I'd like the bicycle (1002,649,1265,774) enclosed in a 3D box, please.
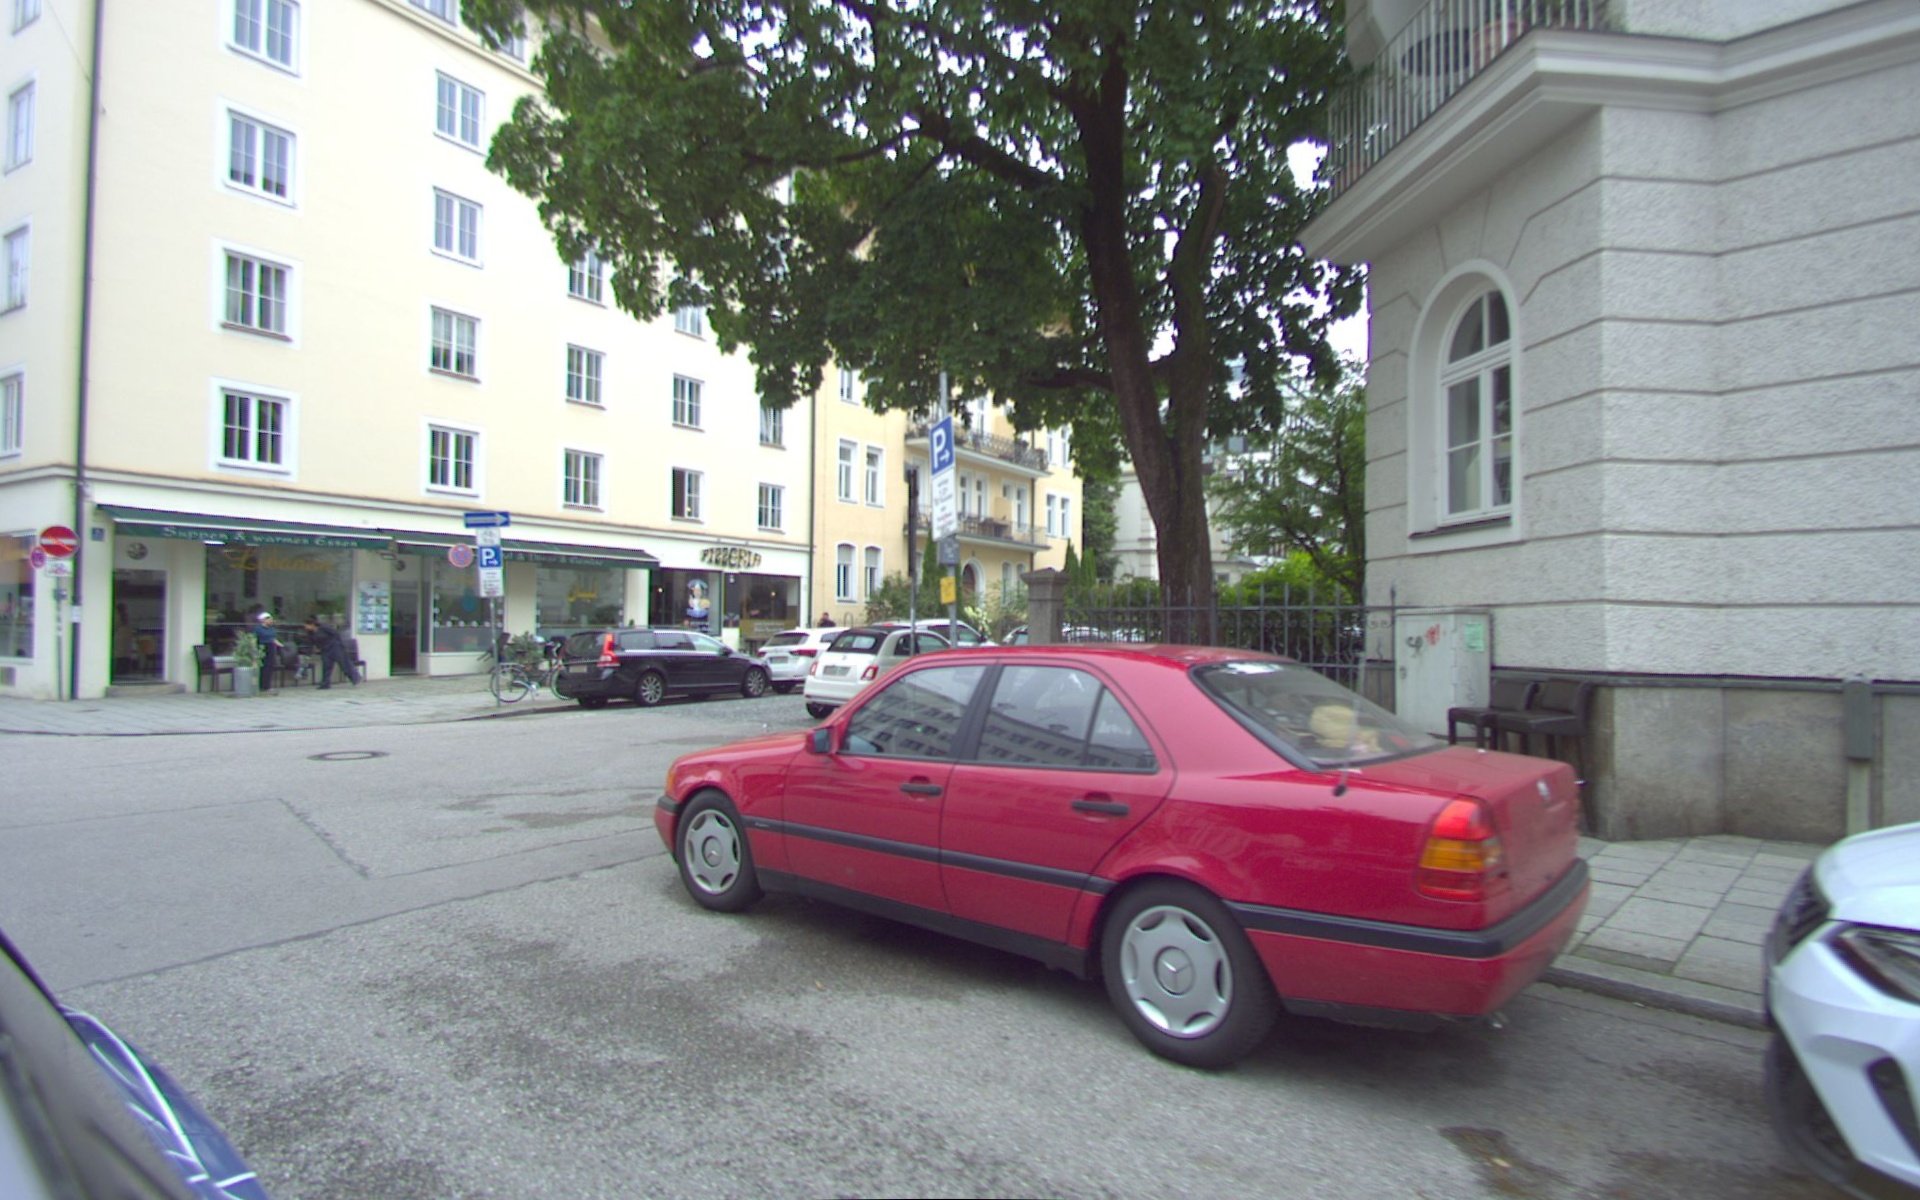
[{"bbox_3d":[1.805,1.119,10.724,2.637,1.172,0.799,-1,-2,27],"label":"bicycle"}]

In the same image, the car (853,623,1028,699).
[{"bbox_3d":[-0.318,1.304,22.792,1.829,1.534,4.445,-1,-2,32],"label":"car"}]

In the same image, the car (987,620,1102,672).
[{"bbox_3d":[2.869,1.516,33.666,1.993,1.522,4.384,-6,-5,31],"label":"car"}]

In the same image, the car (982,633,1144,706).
[{"bbox_3d":[2.264,1.392,21.389,1.789,1.371,3.954,0,-2,33],"label":"car"}]

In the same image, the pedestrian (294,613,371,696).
[{"bbox_3d":[-13.286,1.135,21.441,0.868,1.689,1.112,-1,-2,33],"label":"pedestrian"}]

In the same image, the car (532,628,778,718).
[{"bbox_3d":[-5.886,1.394,20.058,2.022,1.494,4.441,-6,-5,31],"label":"car"}]

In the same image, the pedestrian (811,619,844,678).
[{"bbox_3d":[-4.097,1.503,31.348,0.847,1.803,0.777,0,-2,9],"label":"pedestrian"}]

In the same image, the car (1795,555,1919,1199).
[{"bbox_3d":[3.748,0.716,1.390,3.946,1.580,1.678,0,-2,39],"label":"car"}]

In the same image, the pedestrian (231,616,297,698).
[{"bbox_3d":[-14.256,1.156,20.762,0.907,1.623,0.778,1,-2,-18],"label":"pedestrian"}]

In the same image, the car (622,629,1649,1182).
[{"bbox_3d":[0.396,0.853,4.702,4.476,1.404,1.663,-2,-3,41],"label":"car"}]

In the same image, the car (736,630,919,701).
[{"bbox_3d":[-3.059,1.523,24.194,1.993,1.438,4.384,-6,-5,31],"label":"car"}]

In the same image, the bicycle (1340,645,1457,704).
[{"bbox_3d":[7.387,1.238,17.162,0.844,0.907,1.978,0,-2,-10],"label":"bicycle"}]

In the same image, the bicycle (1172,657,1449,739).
[{"bbox_3d":[4.348,1.187,12.790,3.210,0.864,0.811,-1,-2,36],"label":"bicycle"}]

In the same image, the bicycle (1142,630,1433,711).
[{"bbox_3d":[3.812,0.786,12.065,3.210,0.864,0.798,-1,-2,36],"label":"bicycle"}]

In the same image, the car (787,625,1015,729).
[{"bbox_3d":[-0.860,1.184,16.928,1.789,1.469,3.954,0,-1,33],"label":"car"}]

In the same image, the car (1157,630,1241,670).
[{"bbox_3d":[9.071,1.842,38.194,1.775,1.386,4.383,-1,-2,32],"label":"car"}]

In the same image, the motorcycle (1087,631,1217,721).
[{"bbox_3d":[3.046,1.131,15.800,0.813,1.282,2.727,-2,-2,38],"label":"motorcycle"}]

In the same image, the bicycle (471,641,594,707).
[{"bbox_3d":[-8.345,1.437,19.786,2.117,1.211,0.813,2,-3,-28],"label":"bicycle"}]
